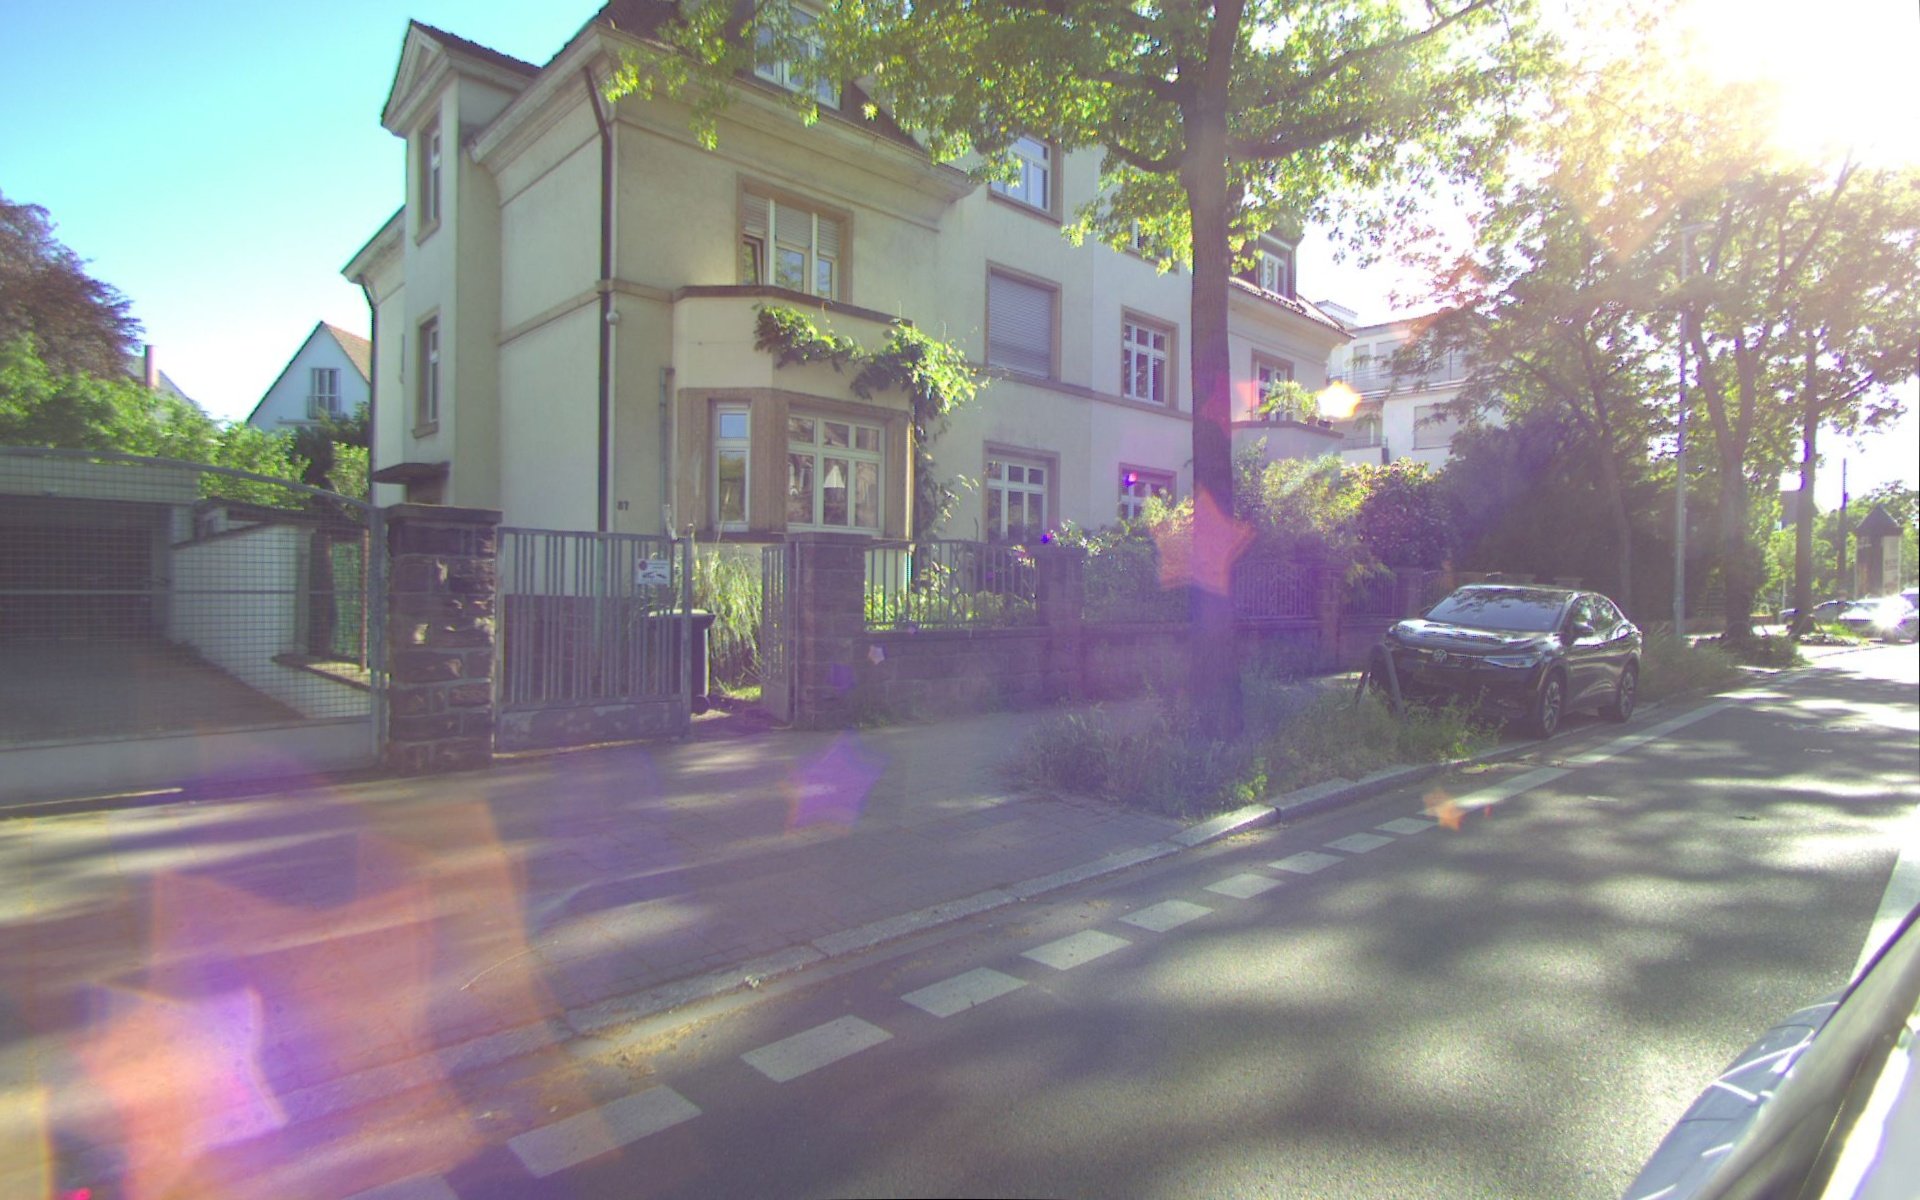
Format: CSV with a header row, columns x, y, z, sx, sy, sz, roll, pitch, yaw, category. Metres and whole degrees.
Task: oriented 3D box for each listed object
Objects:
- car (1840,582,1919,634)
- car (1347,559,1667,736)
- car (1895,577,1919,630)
x,y,z,sx,sy,sz,roll,pitch,yaw,category
31.435,0.245,34.202,3.927,1.660,1.824,0,1,-38,car
6.703,0.475,12.197,4.304,1.695,1.997,1,2,-42,car
36.770,0.123,37.873,4.663,1.919,2.128,0,1,-41,car
